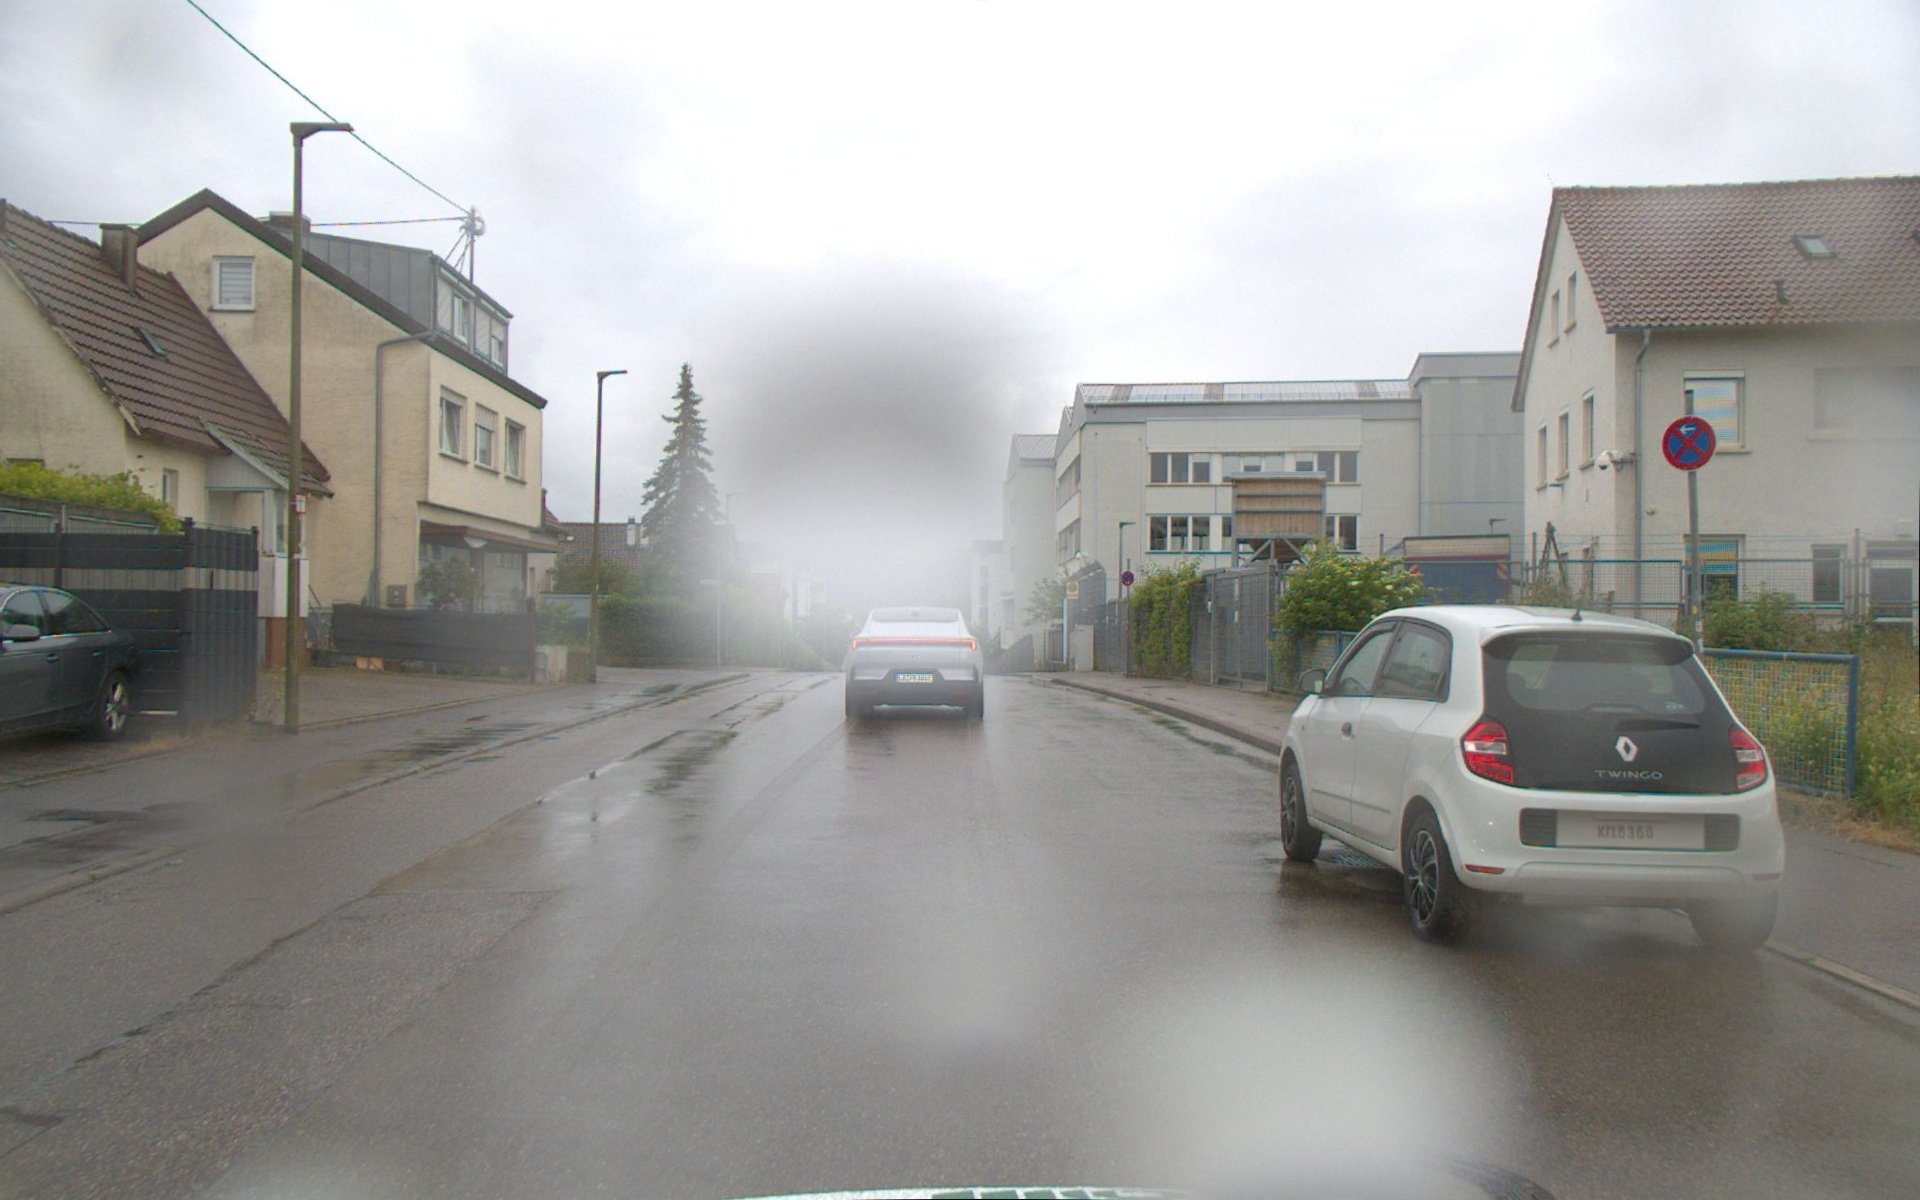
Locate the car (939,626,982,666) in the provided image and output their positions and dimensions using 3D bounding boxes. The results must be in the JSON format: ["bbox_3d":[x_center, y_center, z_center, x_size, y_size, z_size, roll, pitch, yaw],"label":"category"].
[{"bbox_3d":[0.002,2.523,90.203,1.955,2.049,3.995,-1,-3,-5],"label":"car"}]

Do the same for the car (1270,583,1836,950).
[{"bbox_3d":[2.948,0.721,9.077,1.647,1.584,3.673,1,0,-2],"label":"car"}]

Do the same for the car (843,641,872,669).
[{"bbox_3d":[-5.878,3.142,95.184,1.642,1.554,3.997,0,-1,-3],"label":"car"}]

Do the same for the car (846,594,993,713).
[{"bbox_3d":[-0.614,0.706,24.416,1.953,1.528,4.668,0,1,-2],"label":"car"}]

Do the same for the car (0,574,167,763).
[{"bbox_3d":[-8.383,0.511,13.585,1.791,1.392,4.565,3,0,-5],"label":"car"}]
